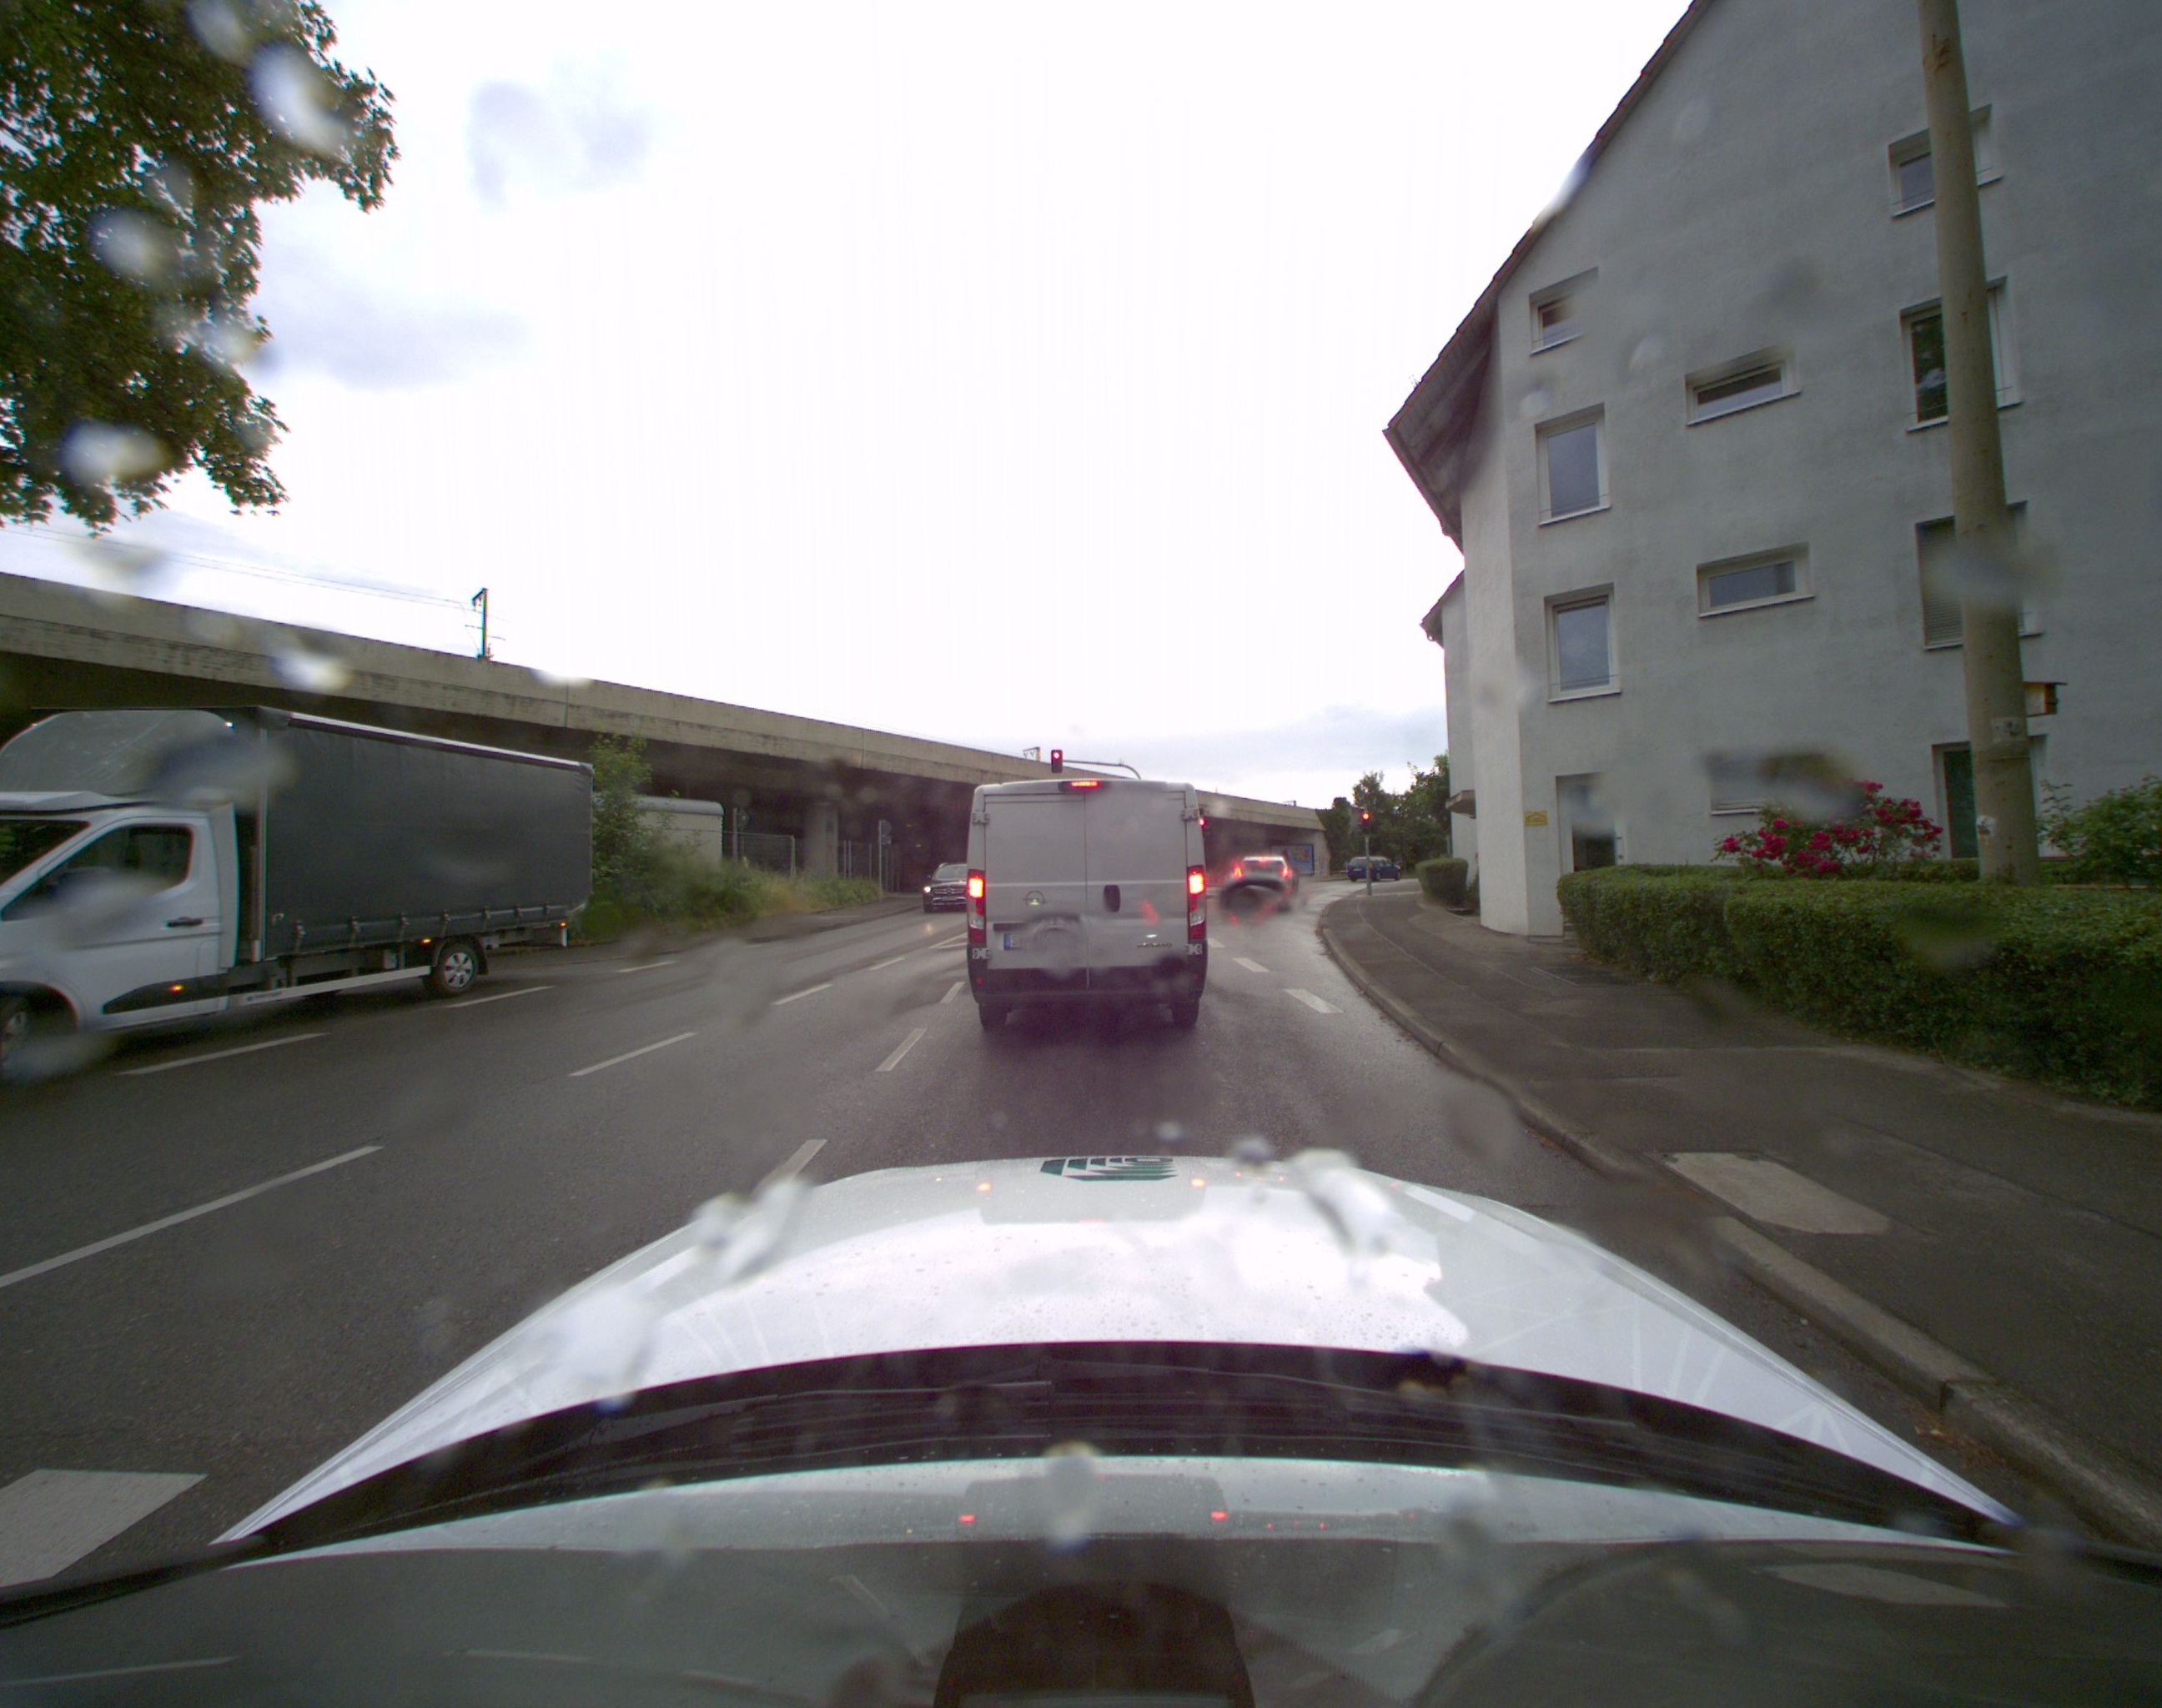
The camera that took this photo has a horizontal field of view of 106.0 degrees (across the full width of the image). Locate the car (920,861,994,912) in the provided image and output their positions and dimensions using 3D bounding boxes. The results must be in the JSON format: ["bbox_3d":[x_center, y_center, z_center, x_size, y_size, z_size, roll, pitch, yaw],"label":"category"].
[{"bbox_3d":[-4.281,1.082,28.685,1.908,1.626,4.433,-1,-1,0],"label":"car"}]

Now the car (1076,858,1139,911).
[{"bbox_3d":[1.014,1.065,28.872,1.984,1.729,4.004,-1,-2,5],"label":"car"}]

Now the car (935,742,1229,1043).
[{"bbox_3d":[0.102,0.413,9.183,2.296,2.344,5.284,-2,-2,2],"label":"car"}]

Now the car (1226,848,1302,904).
[{"bbox_3d":[5.751,0.689,25.229,1.978,1.549,4.017,-2,-2,17],"label":"car"}]

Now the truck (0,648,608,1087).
[{"bbox_3d":[-9.081,0.176,9.163,2.599,3.237,7.782,-1,-1,3],"label":"truck"}]

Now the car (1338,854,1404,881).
[{"bbox_3d":[17.157,0.783,48.094,4.021,1.519,1.976,1,-2,-42],"label":"car"}]
